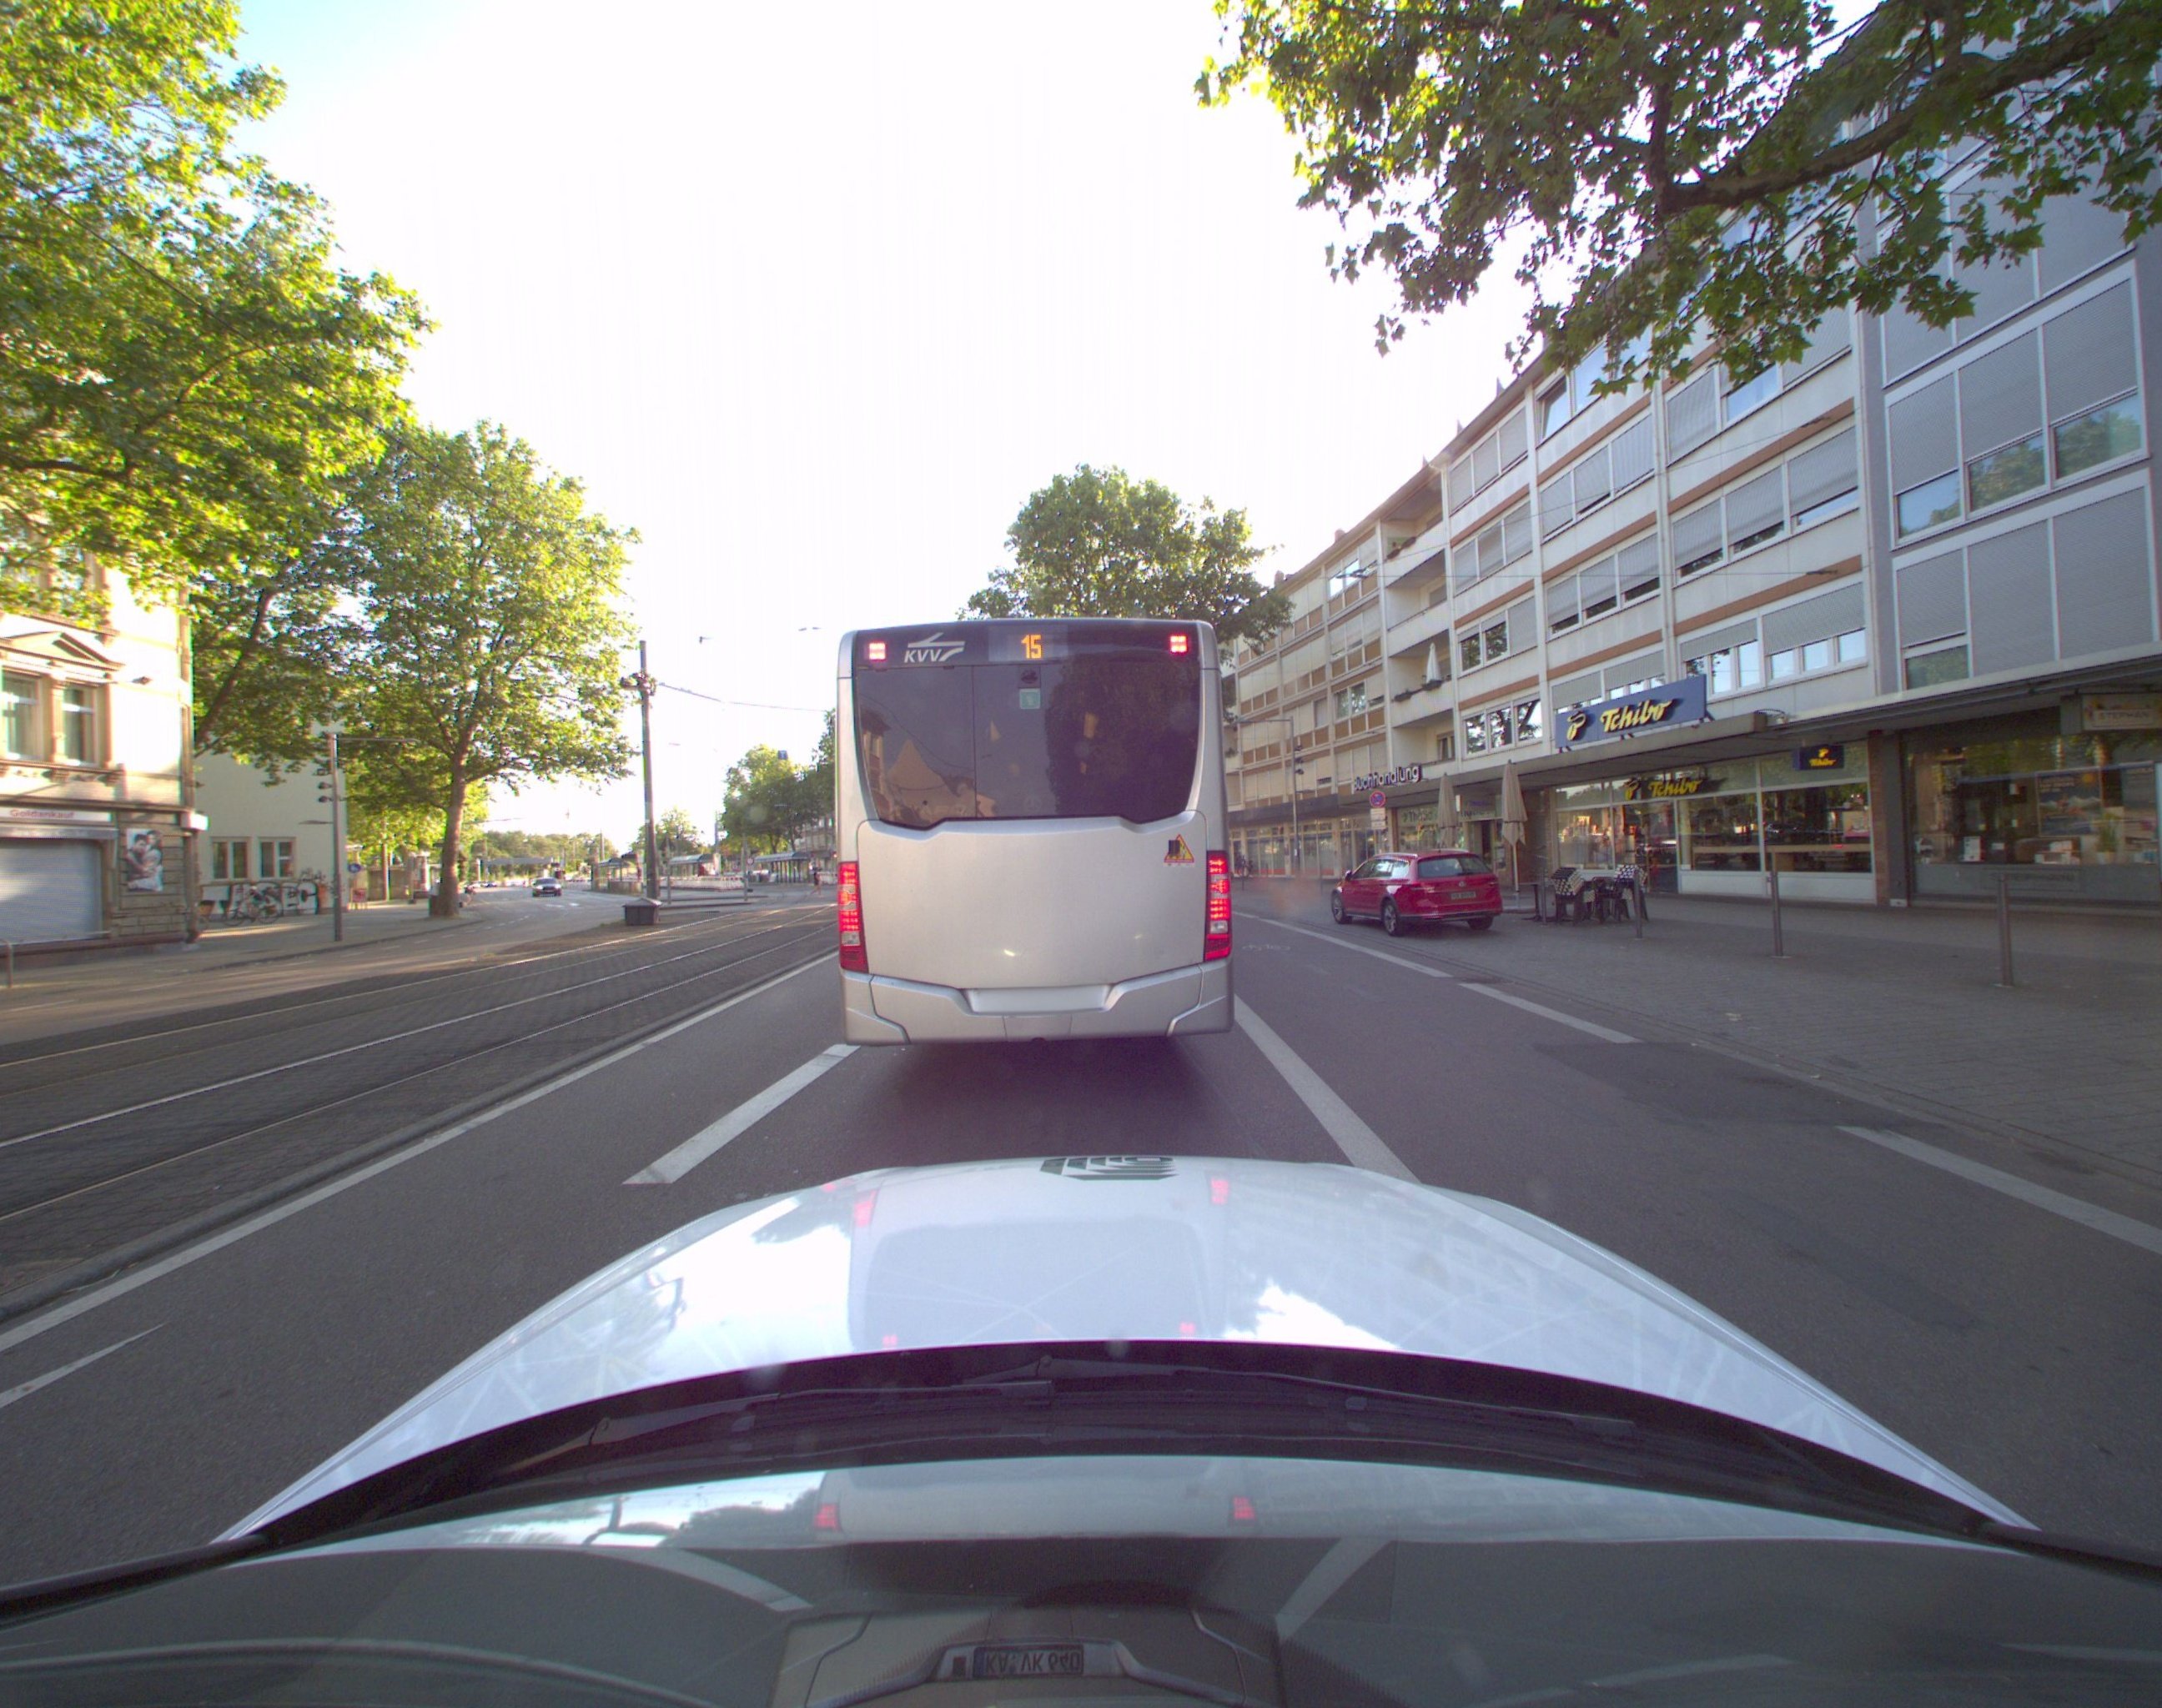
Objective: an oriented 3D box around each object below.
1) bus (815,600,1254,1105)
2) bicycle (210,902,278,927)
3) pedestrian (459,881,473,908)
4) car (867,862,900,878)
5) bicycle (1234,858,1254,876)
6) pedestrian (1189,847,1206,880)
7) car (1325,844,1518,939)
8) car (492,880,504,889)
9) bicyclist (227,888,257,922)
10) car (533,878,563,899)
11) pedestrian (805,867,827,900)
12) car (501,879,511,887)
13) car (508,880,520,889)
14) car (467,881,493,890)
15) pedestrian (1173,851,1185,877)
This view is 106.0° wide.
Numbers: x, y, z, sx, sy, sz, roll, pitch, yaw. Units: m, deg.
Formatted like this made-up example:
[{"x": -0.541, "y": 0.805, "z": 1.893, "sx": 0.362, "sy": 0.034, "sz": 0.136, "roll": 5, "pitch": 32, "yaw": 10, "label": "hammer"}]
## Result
[{"x": -0.139, "y": 0.020, "z": 9.952, "sx": 2.621, "sy": 3.028, "sz": 10.000, "roll": -1, "pitch": 0, "yaw": 2, "label": "bus"}, {"x": -36.740, "y": 2.657, "z": 35.750, "sx": 0.750, "sy": 0.937, "sz": 2.037, "roll": -3, "pitch": -1, "yaw": 42, "label": "bicycle"}, {"x": -39.249, "y": 2.579, "z": 51.975, "sx": 0.661, "sy": 1.656, "sz": 0.438, "roll": -2, "pitch": -1, "yaw": -41, "label": "pedestrian"}, {"x": -21.588, "y": 1.745, "z": 88.740, "sx": 2.010, "sy": 1.792, "sz": 3.954, "roll": 0, "pitch": -1, "yaw": -39, "label": "car"}, {"x": 9.161, "y": 0.726, "z": 45.769, "sx": 0.413, "sy": 0.945, "sz": 1.431, "roll": -2, "pitch": -1, "yaw": -18, "label": "bicycle"}, {"x": 6.011, "y": 0.491, "z": 42.071, "sx": 0.646, "sy": 1.717, "sz": 0.557, "roll": -2, "pitch": -1, "yaw": -14, "label": "pedestrian"}, {"x": 6.373, "y": 0.641, "z": 15.838, "sx": 1.765, "sy": 1.482, "sz": 4.300, "roll": -3, "pitch": 0, "yaw": -2, "label": "car"}, {"x": -117.831, "y": 6.119, "z": 164.679, "sx": 1.858, "sy": 1.684, "sz": 3.676, "roll": -2, "pitch": -1, "yaw": -35, "label": "car"}, {"x": -36.799, "y": 2.221, "z": 35.714, "sx": 0.746, "sy": 1.444, "sz": 0.847, "roll": -3, "pitch": -1, "yaw": 43, "label": "bicyclist"}, {"x": -44.278, "y": 2.851, "z": 67.749, "sx": 2.008, "sy": 1.640, "sz": 3.958, "roll": -2, "pitch": -1, "yaw": -33, "label": "car"}, {"x": -13.940, "y": 1.538, "z": 42.895, "sx": 0.994, "sy": 1.686, "sz": 0.642, "roll": -1, "pitch": -2, "yaw": -10, "label": "pedestrian"}, {"x": -130.095, "y": 6.509, "z": 184.197, "sx": 1.858, "sy": 1.684, "sz": 3.676, "roll": -2, "pitch": -1, "yaw": -35, "label": "car"}, {"x": -111.449, "y": 5.929, "z": 160.019, "sx": 1.858, "sy": 1.684, "sz": 3.677, "roll": -4, "pitch": 1, "yaw": -35, "label": "car"}, {"x": -122.670, "y": 6.357, "z": 166.142, "sx": 1.768, "sy": 1.640, "sz": 4.024, "roll": -3, "pitch": -1, "yaw": 44, "label": "car"}, {"x": 6.258, "y": 0.617, "z": 52.089, "sx": 0.536, "sy": 1.648, "sz": 0.612, "roll": -2, "pitch": -1, "yaw": -15, "label": "pedestrian"}]
